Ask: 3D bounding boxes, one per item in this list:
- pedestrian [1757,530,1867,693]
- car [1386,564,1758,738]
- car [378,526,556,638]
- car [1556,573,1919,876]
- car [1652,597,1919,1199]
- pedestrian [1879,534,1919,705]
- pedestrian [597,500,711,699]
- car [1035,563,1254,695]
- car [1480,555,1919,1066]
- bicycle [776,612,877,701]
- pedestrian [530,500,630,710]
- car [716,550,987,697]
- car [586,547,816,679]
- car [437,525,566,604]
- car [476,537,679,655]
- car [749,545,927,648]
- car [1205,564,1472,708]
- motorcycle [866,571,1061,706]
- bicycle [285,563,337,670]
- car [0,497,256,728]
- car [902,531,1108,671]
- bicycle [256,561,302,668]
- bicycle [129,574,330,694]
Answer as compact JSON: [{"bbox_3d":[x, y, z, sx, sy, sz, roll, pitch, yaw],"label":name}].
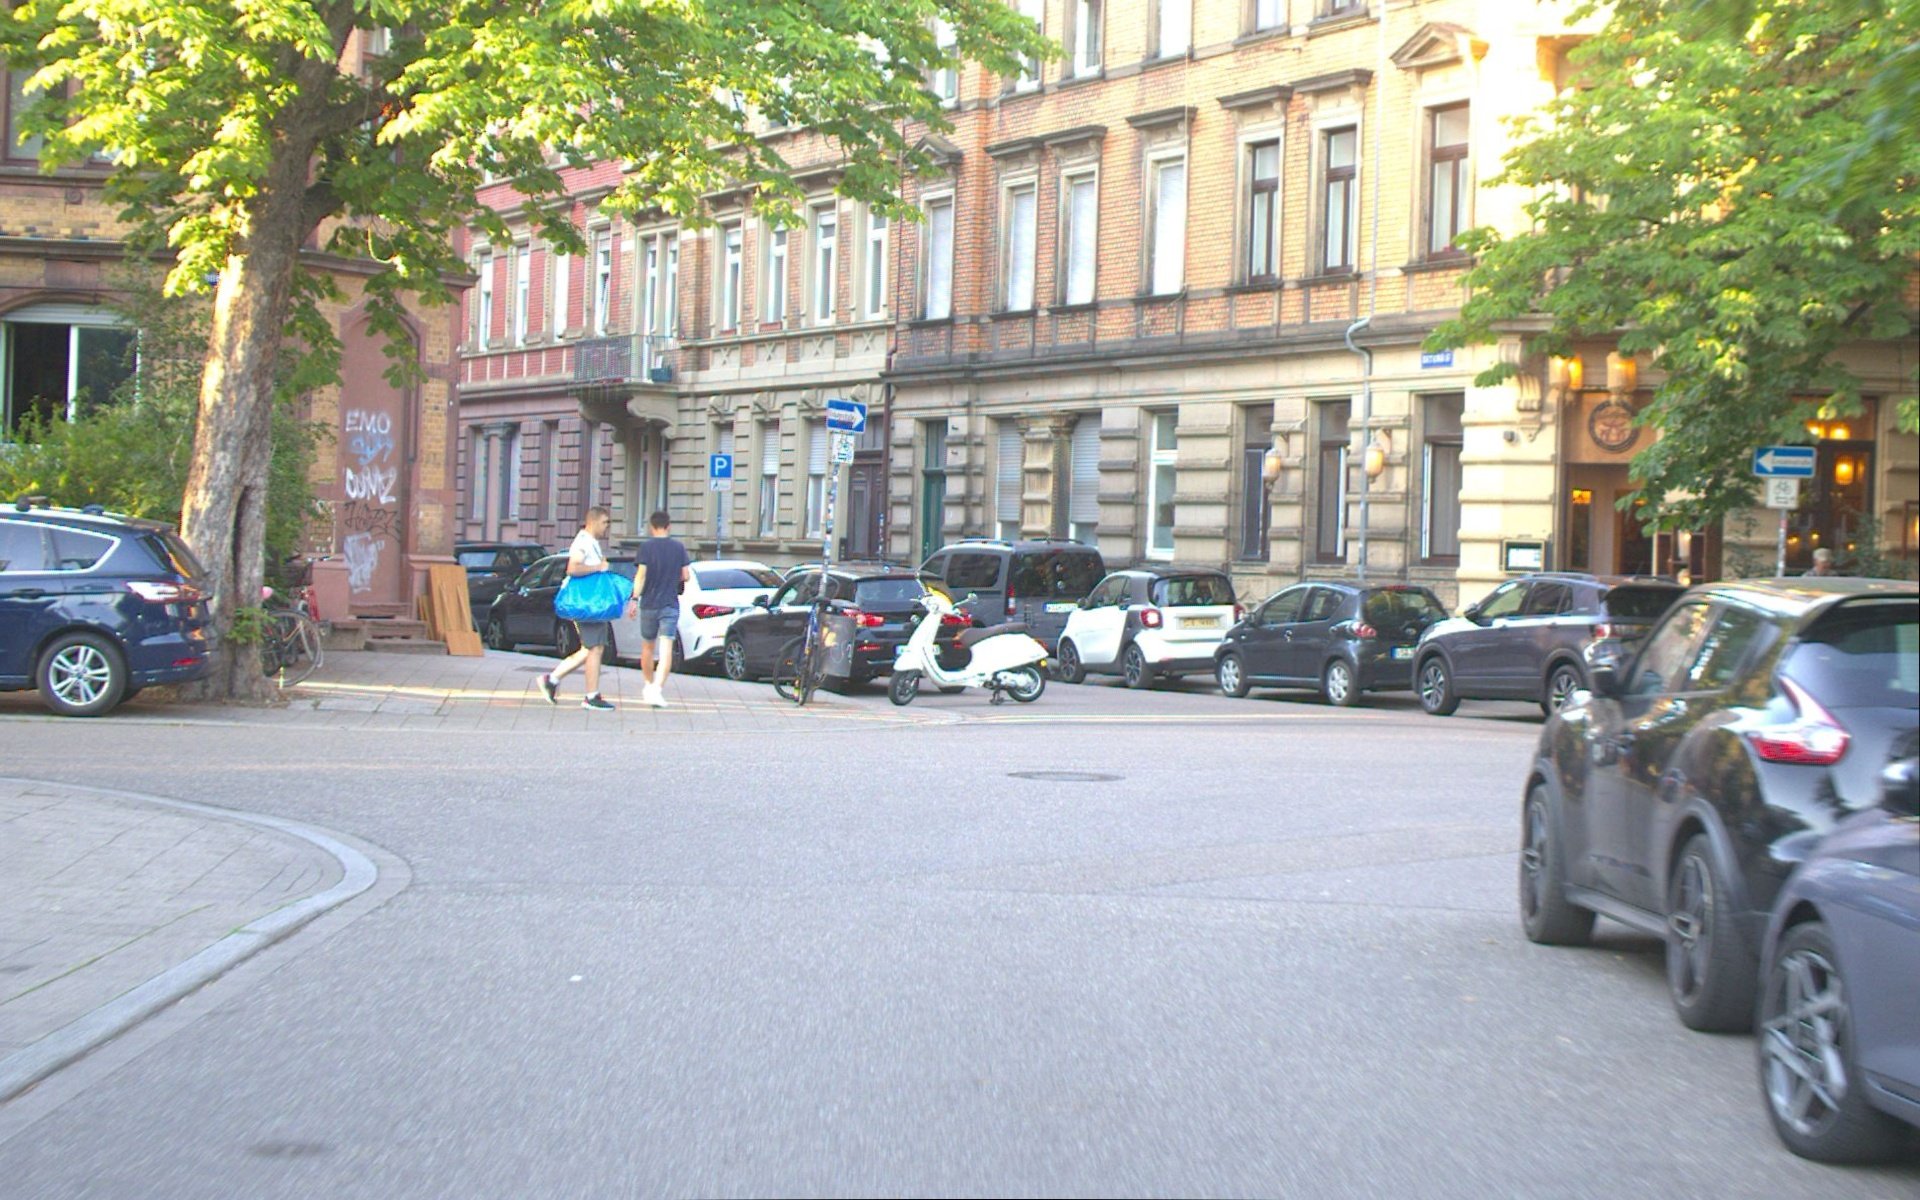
[{"bbox_3d":[9.662,0.122,38.998,0.840,1.798,0.776,1,2,-21],"label":"pedestrian"},{"bbox_3d":[6.394,0.505,36.334,1.914,1.520,3.897,2,2,-24],"label":"car"},{"bbox_3d":[-7.731,-0.306,53.624,1.654,1.519,3.897,2,2,-24],"label":"car"},{"bbox_3d":[5.344,0.662,19.666,1.880,1.461,3.961,4,2,43],"label":"car"},{"bbox_3d":[3.038,0.789,7.823,1.695,1.472,4.213,2,1,-5],"label":"car"},{"bbox_3d":[10.475,0.211,36.940,0.773,1.798,0.843,2,2,-15],"label":"pedestrian"},{"bbox_3d":[-2.857,-0.017,32.016,0.735,1.798,1.122,1,2,-21],"label":"pedestrian"},{"bbox_3d":[2.362,0.359,44.501,1.674,1.520,2.768,2,1,-24],"label":"car"},{"bbox_3d":[3.134,0.648,12.690,1.695,1.565,3.972,2,1,-1],"label":"car"},{"bbox_3d":[-1.313,0.546,34.020,0.425,0.819,1.460,3,2,22],"label":"bicycle"},{"bbox_3d":[-3.425,0.035,31.038,0.815,1.846,0.803,2,1,-5],"label":"pedestrian"},{"bbox_3d":[-1.307,0.237,39.521,1.654,1.426,3.991,2,2,-24],"label":"car"},{"bbox_3d":[-3.369,0.132,44.021,1.654,1.426,4.168,2,2,-22],"label":"car"},{"bbox_3d":[-9.163,-0.714,68.566,1.674,1.426,3.016,2,1,-24],"label":"car"},{"bbox_3d":[-5.416,-0.081,48.306,1.654,1.426,3.897,2,2,-24],"label":"car"},{"bbox_3d":[-1.915,-0.072,53.267,1.674,1.426,3.016,2,1,-24],"label":"car"},{"bbox_3d":[4.447,0.406,40.809,1.674,1.520,3.244,1,2,-24],"label":"car"},{"bbox_3d":[0.030,0.405,36.131,1.931,1.336,0.577,2,2,-10],"label":"motorcycle"},{"bbox_3d":[-6.632,0.154,35.182,0.319,1.024,1.678,2,2,-5],"label":"bicycle"},{"bbox_3d":[-8.328,0.011,28.069,4.828,1.726,1.921,3,2,-6],"label":"car"},{"bbox_3d":[0.595,-0.003,47.956,1.674,1.776,3.016,2,1,-24],"label":"car"},{"bbox_3d":[-6.943,0.139,35.064,0.242,1.024,1.678,2,2,-5],"label":"bicycle"},{"bbox_3d":[-6.519,0.308,30.702,1.671,1.024,0.446,1,2,-24],"label":"bicycle"}]
